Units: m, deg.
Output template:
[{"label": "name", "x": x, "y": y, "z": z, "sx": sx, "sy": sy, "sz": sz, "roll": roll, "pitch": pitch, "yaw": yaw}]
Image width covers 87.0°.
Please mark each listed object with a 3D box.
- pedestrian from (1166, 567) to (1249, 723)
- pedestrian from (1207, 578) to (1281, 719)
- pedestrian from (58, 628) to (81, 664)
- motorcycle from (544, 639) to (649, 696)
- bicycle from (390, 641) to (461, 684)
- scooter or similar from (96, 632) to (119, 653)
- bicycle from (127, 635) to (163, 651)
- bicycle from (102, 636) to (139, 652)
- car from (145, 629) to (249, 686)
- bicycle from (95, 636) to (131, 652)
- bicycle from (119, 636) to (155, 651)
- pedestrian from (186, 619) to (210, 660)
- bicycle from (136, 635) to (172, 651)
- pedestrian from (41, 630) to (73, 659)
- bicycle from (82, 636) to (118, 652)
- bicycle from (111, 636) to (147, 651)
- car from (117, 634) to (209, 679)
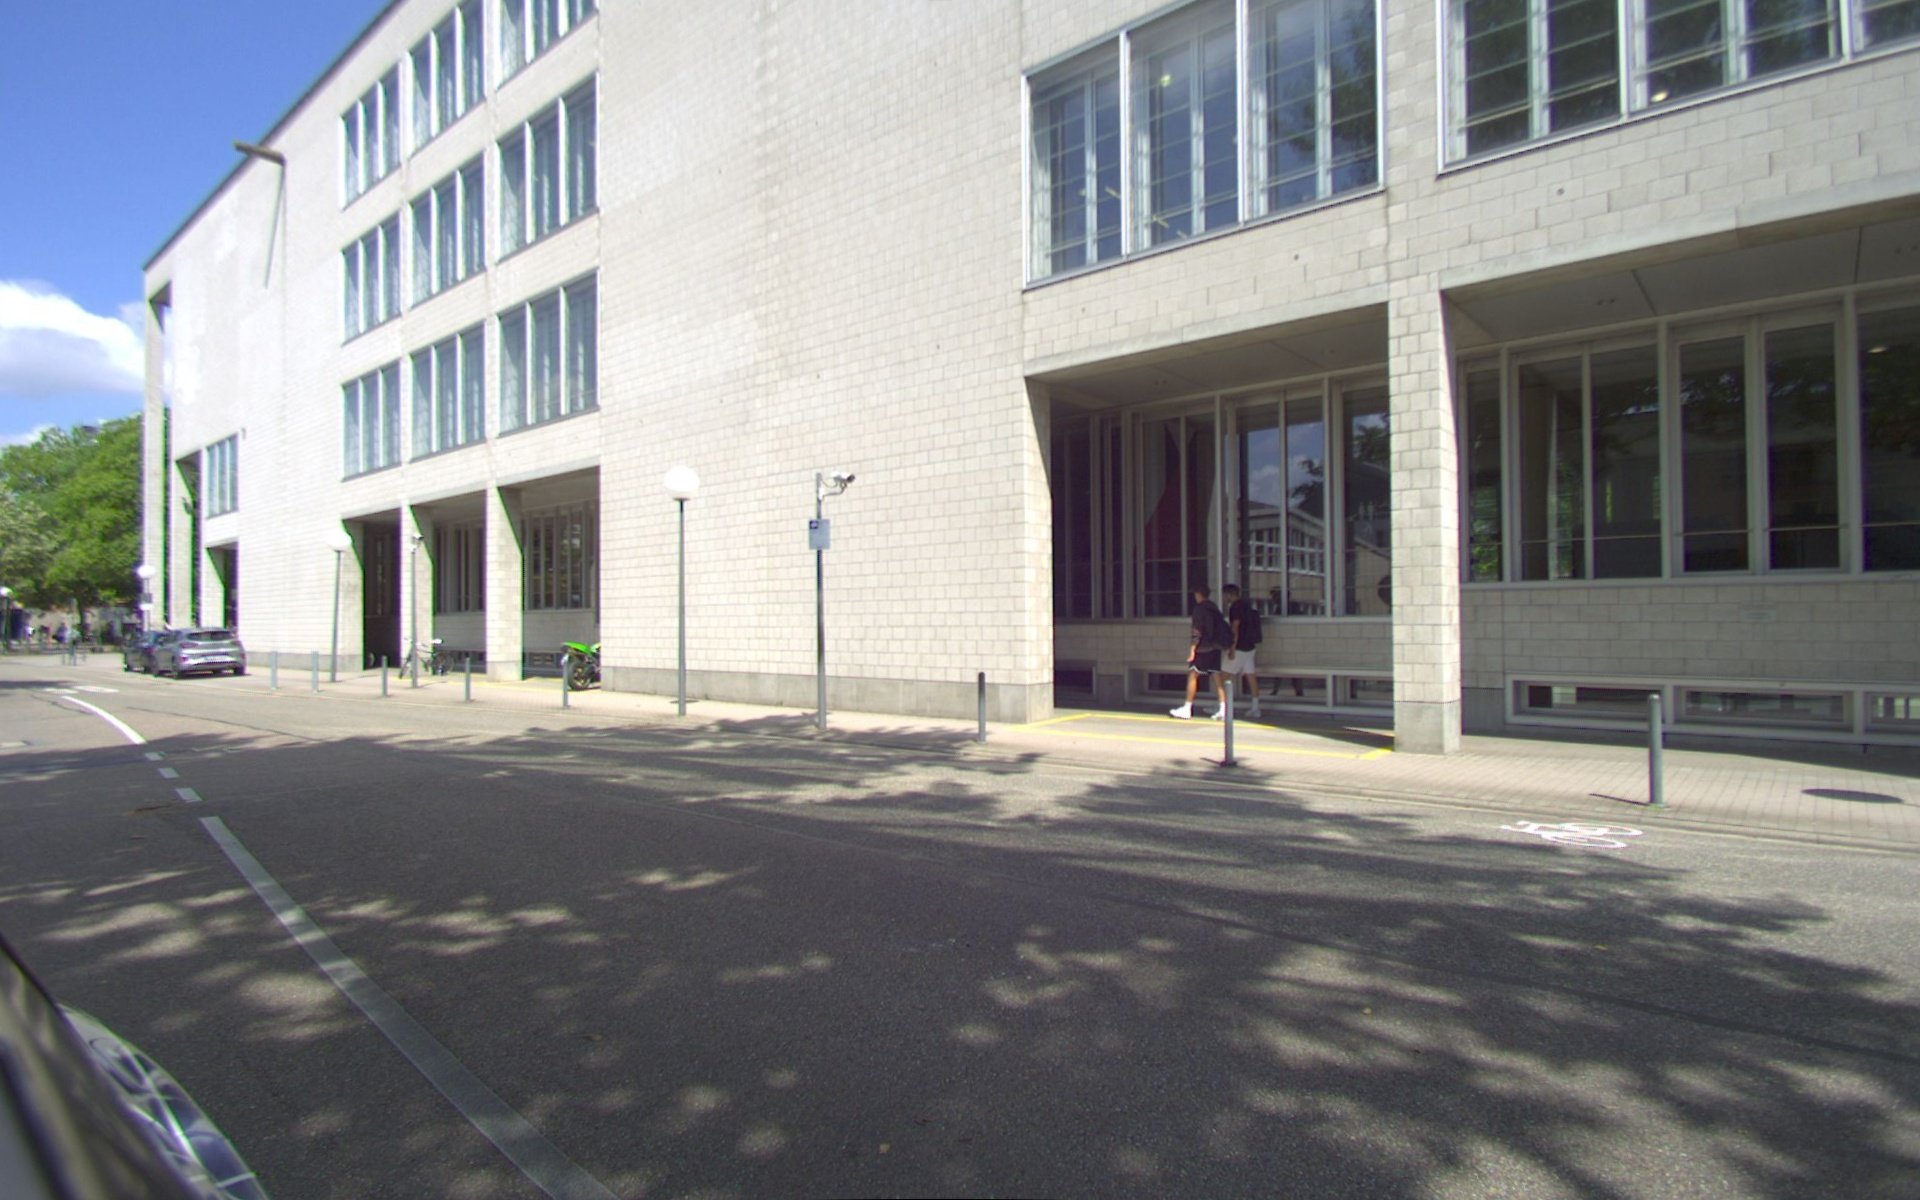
[{"label": "pedestrian", "x": 3.338, "y": 0.590, "z": 13.659, "sx": 0.829, "sy": 2.029, "sz": 0.691, "roll": -2, "pitch": -1, "yaw": 41}, {"label": "pedestrian", "x": 3.956, "y": 0.653, "z": 14.093, "sx": 0.719, "sy": 1.895, "sz": 0.723, "roll": -2, "pitch": -1, "yaw": 41}, {"label": "pedestrian", "x": -45.957, "y": 2.357, "z": 52.240, "sx": 0.749, "sy": 1.738, "sz": 1.237, "roll": -3, "pitch": 1, "yaw": -38}, {"label": "motorcycle", "x": -7.821, "y": 1.426, "z": 21.885, "sx": 0.772, "sy": 1.146, "sz": 2.150, "roll": -2, "pitch": -2, "yaw": 30}, {"label": "bicycle", "x": -14.725, "y": 1.711, "z": 27.907, "sx": 0.607, "sy": 1.095, "sz": 1.624, "roll": -2, "pitch": -1, "yaw": 35}, {"label": "scooter or similar", "x": -50.084, "y": 2.499, "z": 59.478, "sx": 0.702, "sy": 1.200, "sz": 1.620, "roll": 0, "pitch": 0, "yaw": -27}, {"label": "bicycle", "x": -59.380, "y": 3.147, "z": 73.759, "sx": 0.676, "sy": 1.115, "sz": 2.117, "roll": -1, "pitch": -1, "yaw": 11}, {"label": "bicycle", "x": -61.804, "y": 3.216, "z": 74.533, "sx": 0.676, "sy": 1.066, "sz": 2.117, "roll": -1, "pitch": -1, "yaw": 11}, {"label": "car", "x": -23.802, "y": 1.726, "z": 31.523, "sx": 4.404, "sy": 1.546, "sz": 1.708, "roll": -1, "pitch": 1, "yaw": 41}, {"label": "bicycle", "x": -62.482, "y": 3.228, "z": 74.690, "sx": 0.616, "sy": 1.066, "sz": 2.117, "roll": -1, "pitch": -1, "yaw": 11}, {"label": "bicycle", "x": -60.309, "y": 3.190, "z": 74.187, "sx": 0.676, "sy": 1.066, "sz": 2.117, "roll": -1, "pitch": -1, "yaw": 11}, {"label": "pedestrian", "x": -38.442, "y": 1.987, "z": 51.048, "sx": 1.080, "sy": 2.029, "sz": 0.745, "roll": -2, "pitch": -1, "yaw": 40}, {"label": "bicycle", "x": -58.649, "y": 3.134, "z": 73.623, "sx": 0.676, "sy": 1.115, "sz": 2.117, "roll": -1, "pitch": -1, "yaw": 11}, {"label": "pedestrian", "x": -59.329, "y": 2.892, "z": 66.504, "sx": 1.368, "sy": 1.838, "sz": 1.382, "roll": -2, "pitch": -1, "yaw": 40}, {"label": "bicycle", "x": -63.799, "y": 3.252, "z": 75.069, "sx": 0.616, "sy": 1.066, "sz": 2.117, "roll": -1, "pitch": -1, "yaw": 11}, {"label": "bicycle", "x": -61.076, "y": 3.204, "z": 74.405, "sx": 0.676, "sy": 1.066, "sz": 2.117, "roll": -1, "pitch": -1, "yaw": 11}, {"label": "car", "x": -27.756, "y": 1.918, "z": 35.201, "sx": 4.662, "sy": 1.434, "sz": 1.708, "roll": -2, "pitch": -1, "yaw": 41}]
